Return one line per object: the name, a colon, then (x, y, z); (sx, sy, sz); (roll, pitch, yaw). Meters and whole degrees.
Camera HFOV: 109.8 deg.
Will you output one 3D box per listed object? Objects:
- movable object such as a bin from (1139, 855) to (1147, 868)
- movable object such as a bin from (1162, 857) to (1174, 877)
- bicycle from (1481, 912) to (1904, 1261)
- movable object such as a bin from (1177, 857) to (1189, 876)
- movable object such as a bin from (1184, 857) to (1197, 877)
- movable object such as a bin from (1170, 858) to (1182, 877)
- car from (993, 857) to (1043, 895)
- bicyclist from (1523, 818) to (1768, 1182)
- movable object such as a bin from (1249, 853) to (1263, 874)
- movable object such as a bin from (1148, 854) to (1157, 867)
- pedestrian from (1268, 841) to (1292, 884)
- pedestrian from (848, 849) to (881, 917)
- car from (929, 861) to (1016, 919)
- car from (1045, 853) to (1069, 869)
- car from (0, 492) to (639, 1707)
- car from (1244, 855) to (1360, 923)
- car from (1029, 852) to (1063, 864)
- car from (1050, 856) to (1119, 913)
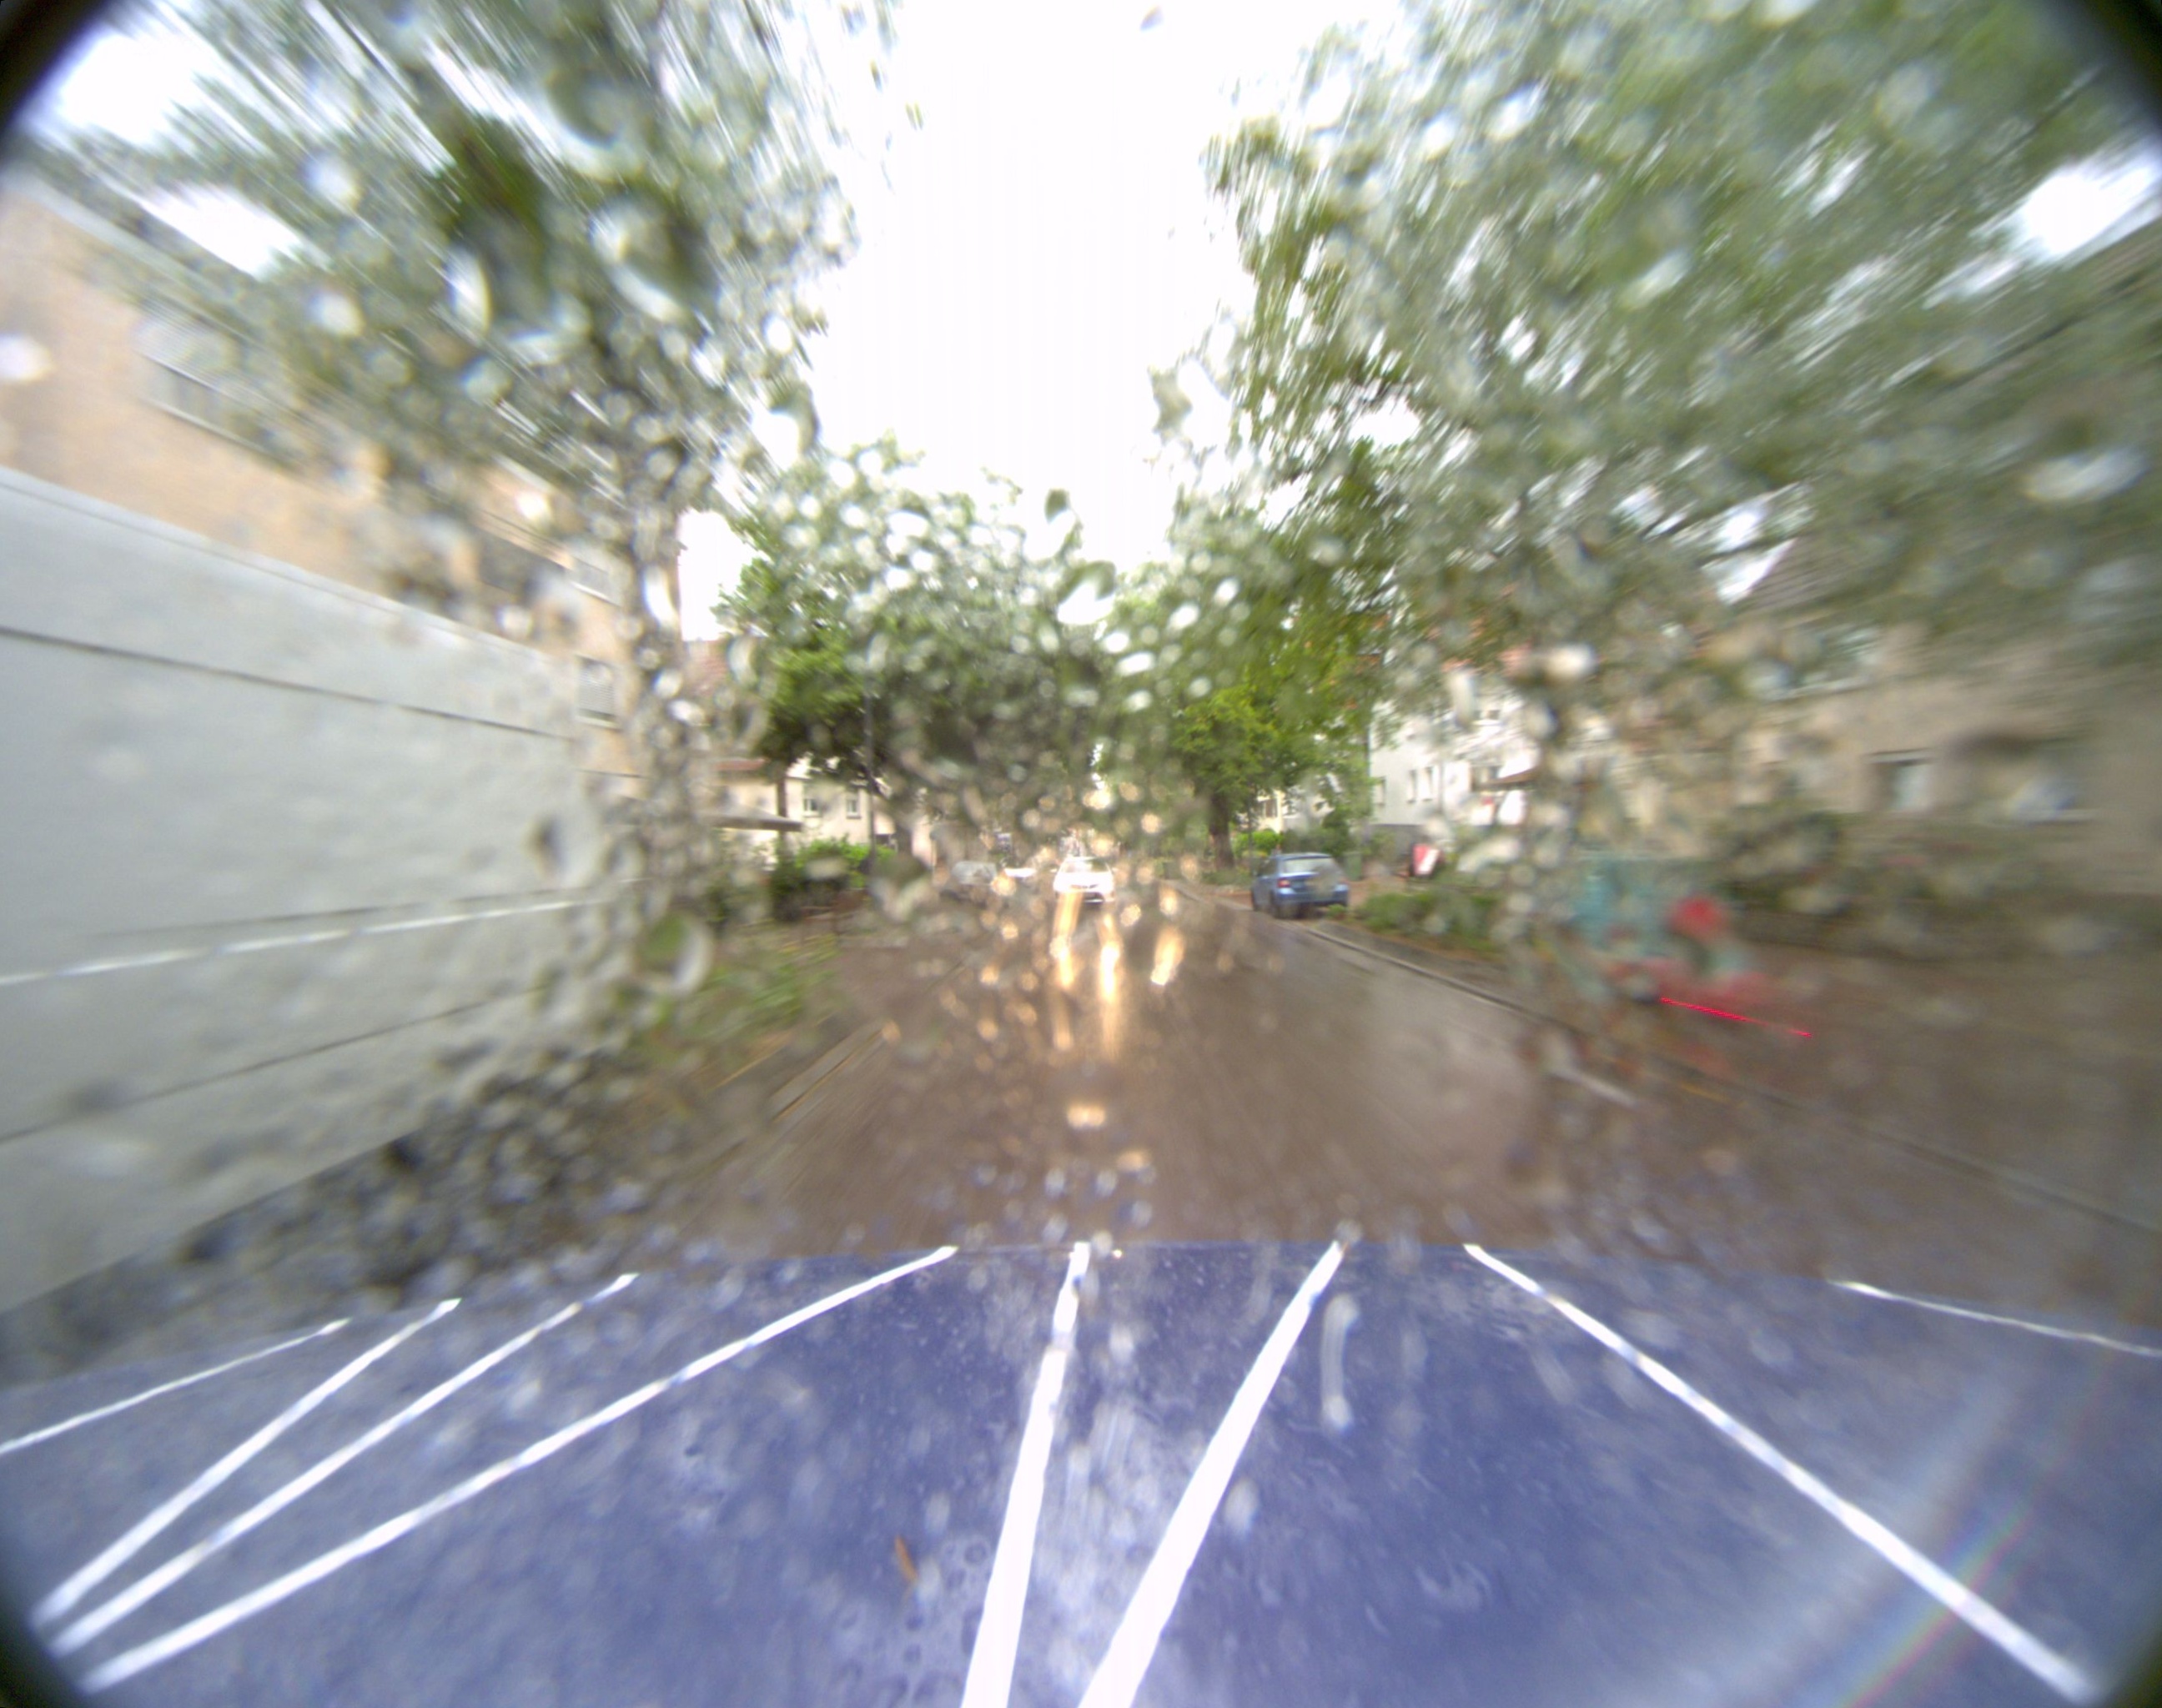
movable object such as a bin: (5.183, 0.606, 63.577); (0.585, 1.071, 0.570); (-4, 1, -1)
movable object such as a bin: (4.941, 0.739, 43.344); (0.665, 1.068, 0.596); (-1, 2, 5)
bicycle: (2.941, 0.997, 3.994); (0.629, 1.202, 1.981); (-2, 1, 1)
movable object such as a bin: (5.809, 0.717, 43.287); (0.665, 1.068, 0.596); (-1, 2, 5)
movable object such as a bin: (6.118, 0.723, 42.596); (0.665, 1.068, 0.596); (-1, 2, 5)
movable object such as a bin: (5.320, 0.745, 42.657); (0.665, 1.061, 0.596); (-1, 2, 5)
car: (-2.475, 0.846, 30.649); (1.685, 1.391, 3.794); (-1, 1, 0)
bicyclist: (2.938, 0.694, 4.047); (0.629, 1.721, 0.880); (-2, 1, 0)
movable object such as a bin: (9.859, 0.543, 42.839); (0.664, 1.126, 0.659); (-2, 1, 3)
movable object such as a bin: (5.954, 0.551, 63.636); (0.618, 1.053, 0.569); (-4, 1, -1)
pedestrian: (7.605, 0.314, 29.101); (0.651, 1.585, 0.932); (-2, 1, 1)
pedestrian: (-5.647, 0.739, 19.797); (0.769, 1.721, 0.492); (-2, 1, -17)
car: (-2.934, 0.935, 21.299); (1.813, 1.403, 3.783); (-2, 0, 1)
car: (-2.228, 0.673, 71.534); (1.896, 1.460, 4.824); (0, 0, 3)
car: (-3.134, 0.563, 0.686); (2.146, 2.446, 5.434); (-2, 1, 1)
car: (5.212, 0.755, 18.406); (1.754, 1.388, 3.796); (-2, 1, 2)
car: (-4.459, 0.502, 98.407); (4.270, 1.451, 1.829); (-2, 0, -1)
car: (0.199, 0.832, 22.584); (1.828, 1.451, 3.876); (-2, 0, 3)
